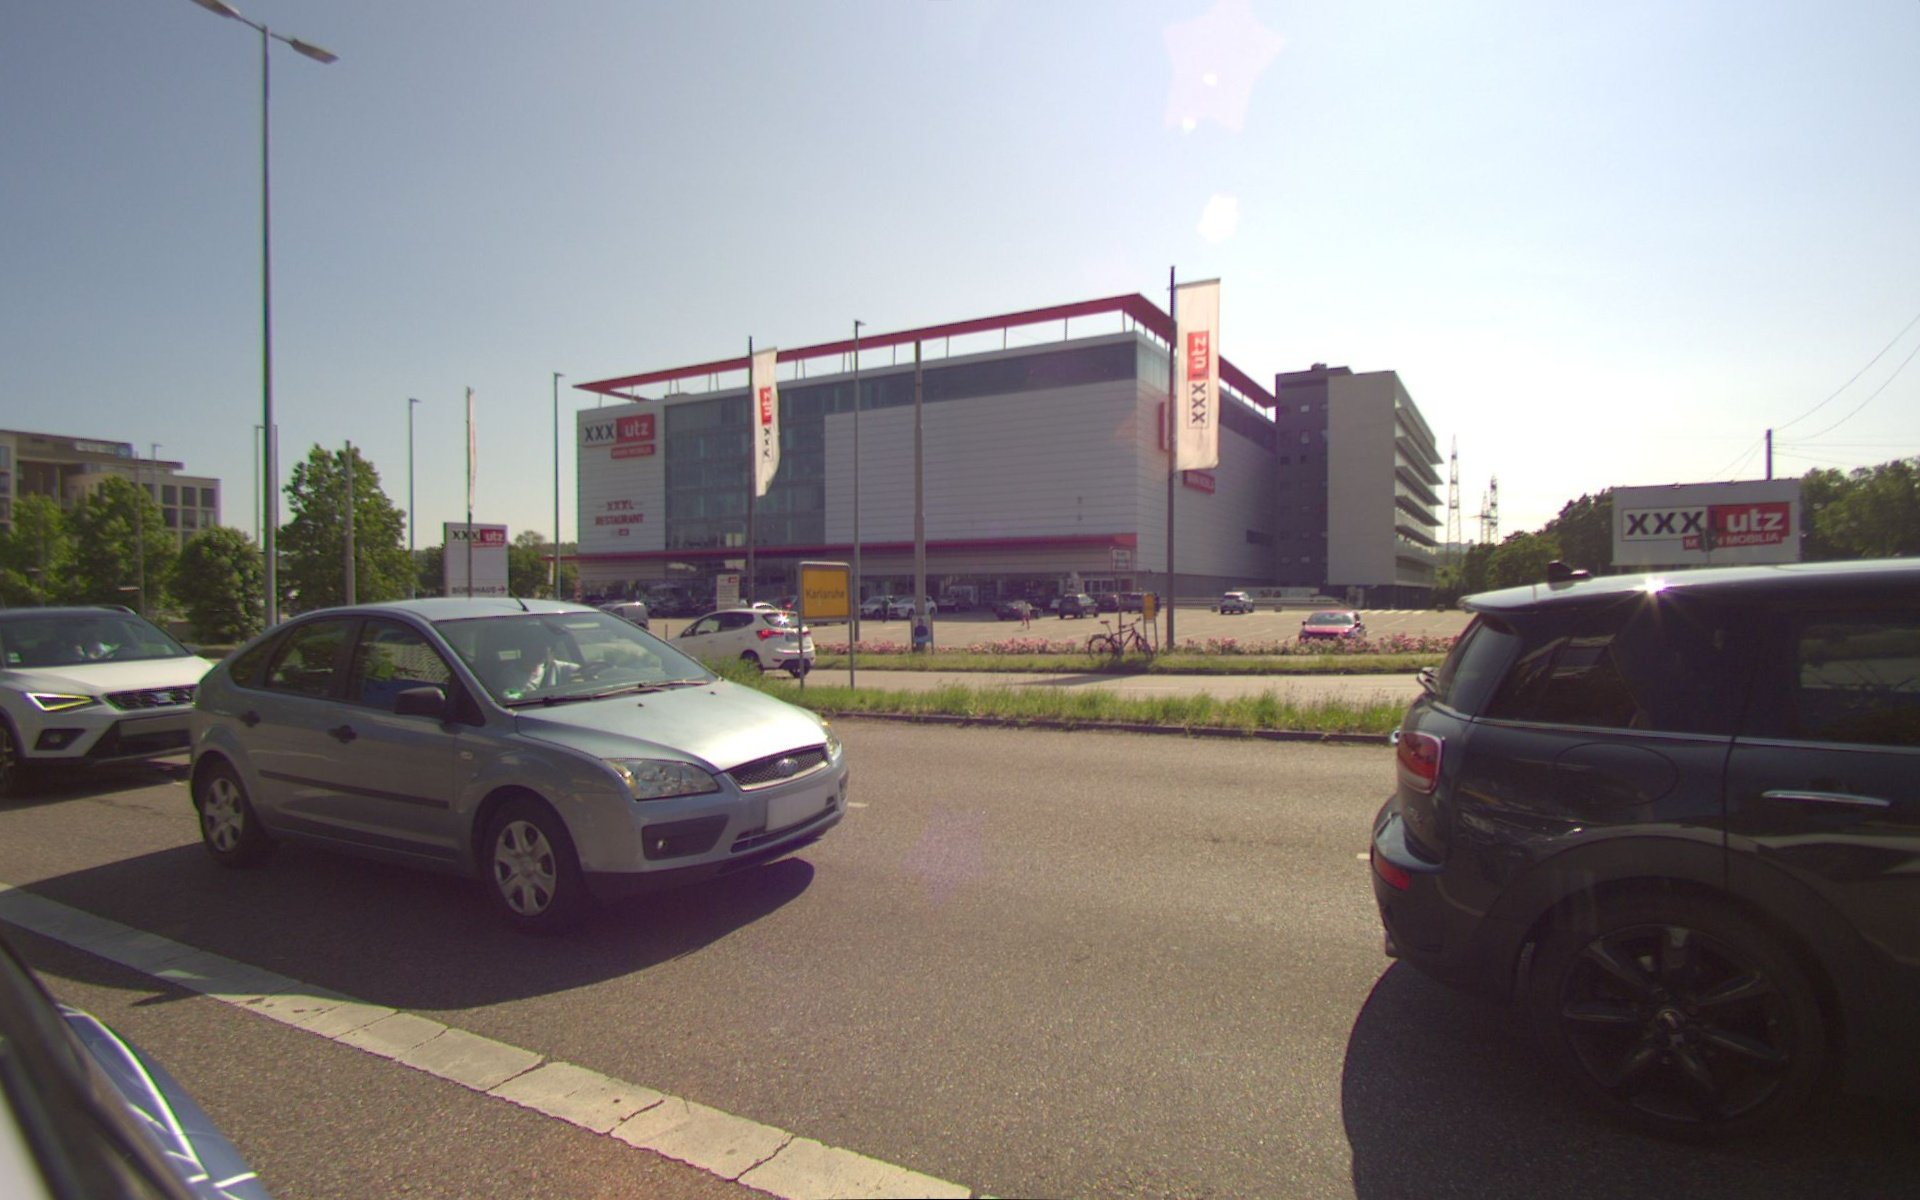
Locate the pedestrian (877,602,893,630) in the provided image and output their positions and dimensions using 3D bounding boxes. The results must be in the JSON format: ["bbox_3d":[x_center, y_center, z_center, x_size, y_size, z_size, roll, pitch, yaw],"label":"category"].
[{"bbox_3d":[-5.053,1.073,68.162,0.749,1.872,0.847,-2,-1,30],"label":"pedestrian"}]

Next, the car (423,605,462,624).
[{"bbox_3d":[-51.498,1.402,100.708,1.685,1.771,3.068,0,0,29],"label":"car"}]

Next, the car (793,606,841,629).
[{"bbox_3d":[-9.014,1.105,64.067,1.509,1.340,3.068,0,0,28],"label":"car"}]

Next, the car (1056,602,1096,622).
[{"bbox_3d":[8.123,0.849,70.807,1.771,1.340,3.068,0,1,29],"label":"car"}]

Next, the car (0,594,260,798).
[{"bbox_3d":[-8.326,0.827,9.275,3.854,1.509,1.620,-4,-1,30],"label":"car"}]

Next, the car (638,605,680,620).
[{"bbox_3d":[-25.634,1.064,86.236,1.474,1.208,3.476,0,1,28],"label":"car"}]

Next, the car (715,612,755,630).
[{"bbox_3d":[-18.067,1.639,81.363,1.509,1.340,3.068,0,0,28],"label":"car"}]

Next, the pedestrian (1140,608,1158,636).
[{"bbox_3d":[13.645,1.586,73.133,0.972,2.029,0.939,-2,-1,31],"label":"pedestrian"}]

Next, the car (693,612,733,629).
[{"bbox_3d":[-19.995,1.673,82.149,1.509,1.303,3.067,0,1,29],"label":"car"}]

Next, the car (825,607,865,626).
[{"bbox_3d":[-8.620,1.194,75.767,1.509,1.340,3.068,0,0,28],"label":"car"}]

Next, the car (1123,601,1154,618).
[{"bbox_3d":[14.236,0.741,80.609,1.509,1.340,3.068,0,0,28],"label":"car"}]

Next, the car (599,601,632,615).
[{"bbox_3d":[-36.498,0.832,107.298,1.509,1.340,3.068,0,0,28],"label":"car"}]

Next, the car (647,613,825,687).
[{"bbox_3d":[-5.301,1.126,23.820,4.076,1.558,1.779,-1,0,34],"label":"car"}]

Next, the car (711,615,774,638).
[{"bbox_3d":[-14.140,1.697,66.029,1.509,1.340,4.460,0,1,28],"label":"car"}]

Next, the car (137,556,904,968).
[{"bbox_3d":[-2.542,0.646,5.635,4.155,1.585,1.695,-2,1,29],"label":"car"}]

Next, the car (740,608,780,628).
[{"bbox_3d":[-14.404,1.280,72.873,1.308,1.340,2.848,0,0,28],"label":"car"}]

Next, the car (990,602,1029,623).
[{"bbox_3d":[3.386,0.812,68.600,1.509,1.340,3.068,0,0,28],"label":"car"}]

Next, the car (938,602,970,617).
[{"bbox_3d":[-0.531,0.851,88.080,1.509,1.234,3.068,0,1,28],"label":"car"}]

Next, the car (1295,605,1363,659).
[{"bbox_3d":[12.485,1.023,34.113,1.816,1.617,4.161,0,0,25],"label":"car"}]

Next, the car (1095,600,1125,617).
[{"bbox_3d":[12.249,0.673,82.649,1.509,1.340,3.068,0,0,28],"label":"car"}]

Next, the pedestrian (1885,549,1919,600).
[{"bbox_3d":[37.818,-1.014,40.630,0.915,1.987,0.710,0,0,34],"label":"pedestrian"}]

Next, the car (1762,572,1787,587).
[{"bbox_3d":[97.085,-2.460,120.643,1.625,1.637,3.750,-2,0,27],"label":"car"}]

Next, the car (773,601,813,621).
[{"bbox_3d":[-14.235,0.900,86.621,1.653,1.642,3.542,-2,0,25],"label":"car"}]

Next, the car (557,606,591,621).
[{"bbox_3d":[-37.675,1.315,98.924,1.213,1.340,3.068,0,0,28],"label":"car"}]

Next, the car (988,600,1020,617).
[{"bbox_3d":[3.790,0.704,86.727,1.509,1.340,3.068,0,0,28],"label":"car"}]

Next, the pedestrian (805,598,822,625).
[{"bbox_3d":[-10.994,0.860,75.903,1.022,2.029,0.851,-2,-2,44],"label":"pedestrian"}]

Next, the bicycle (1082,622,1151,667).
[{"bbox_3d":[3.808,1.078,24.664,1.635,1.030,0.328,1,-1,27],"label":"bicycle"}]

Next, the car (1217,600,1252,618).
[{"bbox_3d":[20.751,0.664,76.417,1.744,1.340,3.639,0,1,28],"label":"car"}]

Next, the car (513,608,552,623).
[{"bbox_3d":[-40.176,1.467,95.214,1.509,1.340,3.193,0,0,28],"label":"car"}]

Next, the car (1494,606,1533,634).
[{"bbox_3d":[29.052,1.019,53.182,1.721,1.340,3.822,0,1,28],"label":"car"}]

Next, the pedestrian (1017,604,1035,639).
[{"bbox_3d":[3.630,1.158,55.695,0.770,1.909,0.500,0,-2,-30],"label":"pedestrian"}]

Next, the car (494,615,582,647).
[{"bbox_3d":[-23.252,1.671,55.927,1.862,1.640,4.386,0,0,27],"label":"car"}]

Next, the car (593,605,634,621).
[{"bbox_3d":[-30.432,1.102,88.987,1.696,1.340,3.068,0,1,29],"label":"car"}]

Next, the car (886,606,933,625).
[{"bbox_3d":[-3.667,1.113,74.103,1.509,1.340,4.273,0,1,28],"label":"car"}]

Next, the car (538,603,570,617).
[{"bbox_3d":[-40.228,0.974,100.389,1.291,1.340,2.796,0,0,28],"label":"car"}]

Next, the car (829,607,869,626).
[{"bbox_3d":[-8.315,1.208,75.786,1.509,1.340,3.068,0,0,28],"label":"car"}]

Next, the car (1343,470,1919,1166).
[{"bbox_3d":[3.313,0.455,2.510,4.183,1.523,1.725,-2,-1,30],"label":"car"}]

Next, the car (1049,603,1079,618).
[{"bbox_3d":[8.546,0.850,82.921,1.435,1.234,3.068,0,1,28],"label":"car"}]

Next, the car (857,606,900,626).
[{"bbox_3d":[-5.990,1.182,74.459,1.581,1.340,3.383,-2,0,27],"label":"car"}]

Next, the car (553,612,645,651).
[{"bbox_3d":[-18.899,1.611,53.135,1.937,1.856,4.383,-1,0,29],"label":"car"}]

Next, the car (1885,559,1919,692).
[{"bbox_3d":[8.558,0.166,7.375,2.483,1.012,1.109,-2,-1,32],"label":"car"}]

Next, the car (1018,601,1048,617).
[{"bbox_3d":[6.142,0.765,84.811,1.360,1.276,3.068,0,0,28],"label":"car"}]

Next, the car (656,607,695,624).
[{"bbox_3d":[-23.779,1.267,84.633,1.509,1.340,3.068,0,0,28],"label":"car"}]
